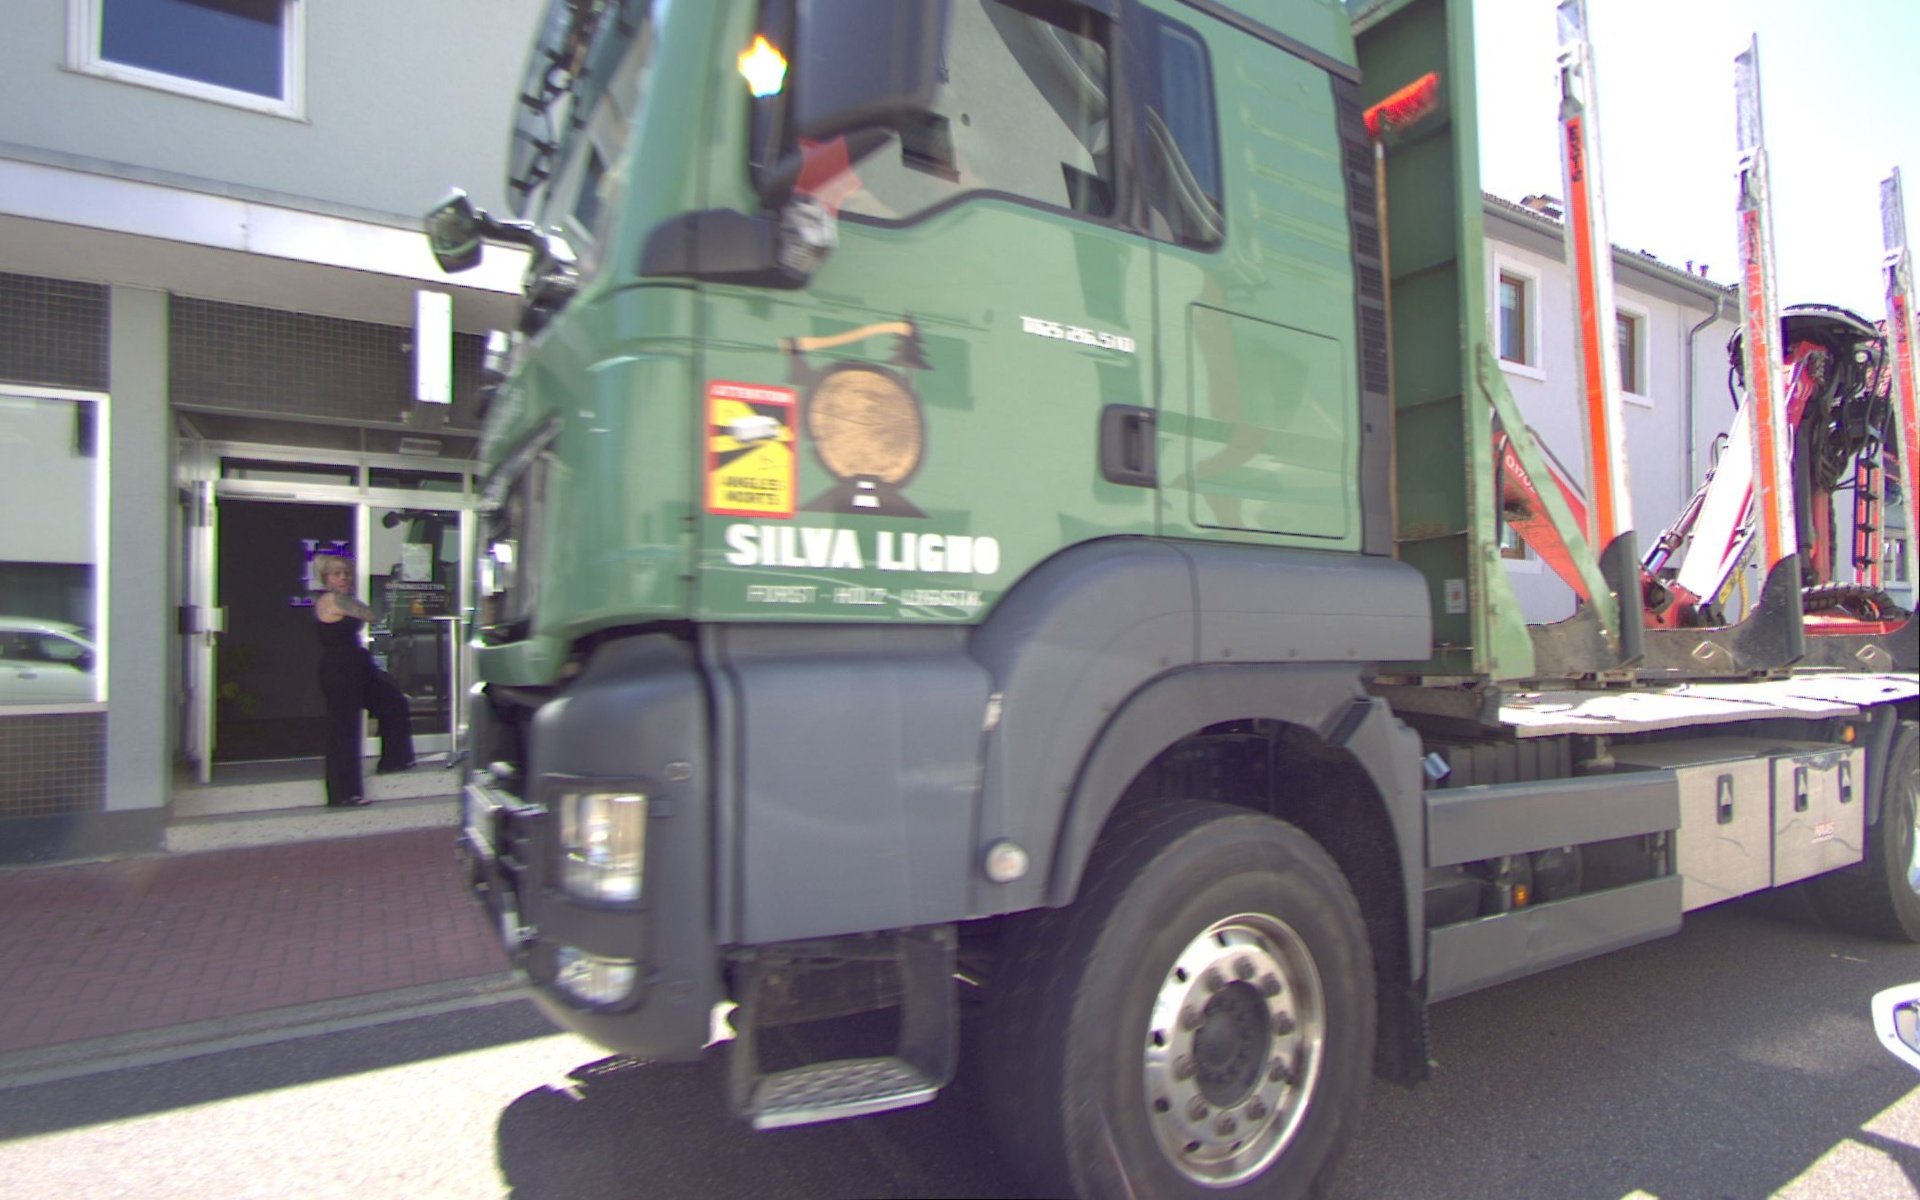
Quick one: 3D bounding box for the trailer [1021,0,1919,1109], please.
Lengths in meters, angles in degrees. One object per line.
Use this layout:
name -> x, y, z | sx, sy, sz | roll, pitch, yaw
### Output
trailer -> 7.589, -0.293, 8.282 | 15.522, 4.031, 2.617 | 1, -3, -32

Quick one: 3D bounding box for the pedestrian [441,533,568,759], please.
pedestrian -> -3.673, 0.355, 8.135 | 0.618, 1.736, 0.666 | 2, 0, 10

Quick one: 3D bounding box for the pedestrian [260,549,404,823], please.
pedestrian -> -4.193, 0.543, 6.740 | 0.762, 1.707, 0.621 | 1, 0, -32

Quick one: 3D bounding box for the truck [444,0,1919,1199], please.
truck -> 1.636, -0.396, 4.435 | 6.775, 4.037, 2.605 | 1, -3, -32

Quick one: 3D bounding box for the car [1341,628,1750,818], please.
car -> 6.314, 1.139, 10.704 | 4.512, 1.578, 1.799 | 1, 1, -31
